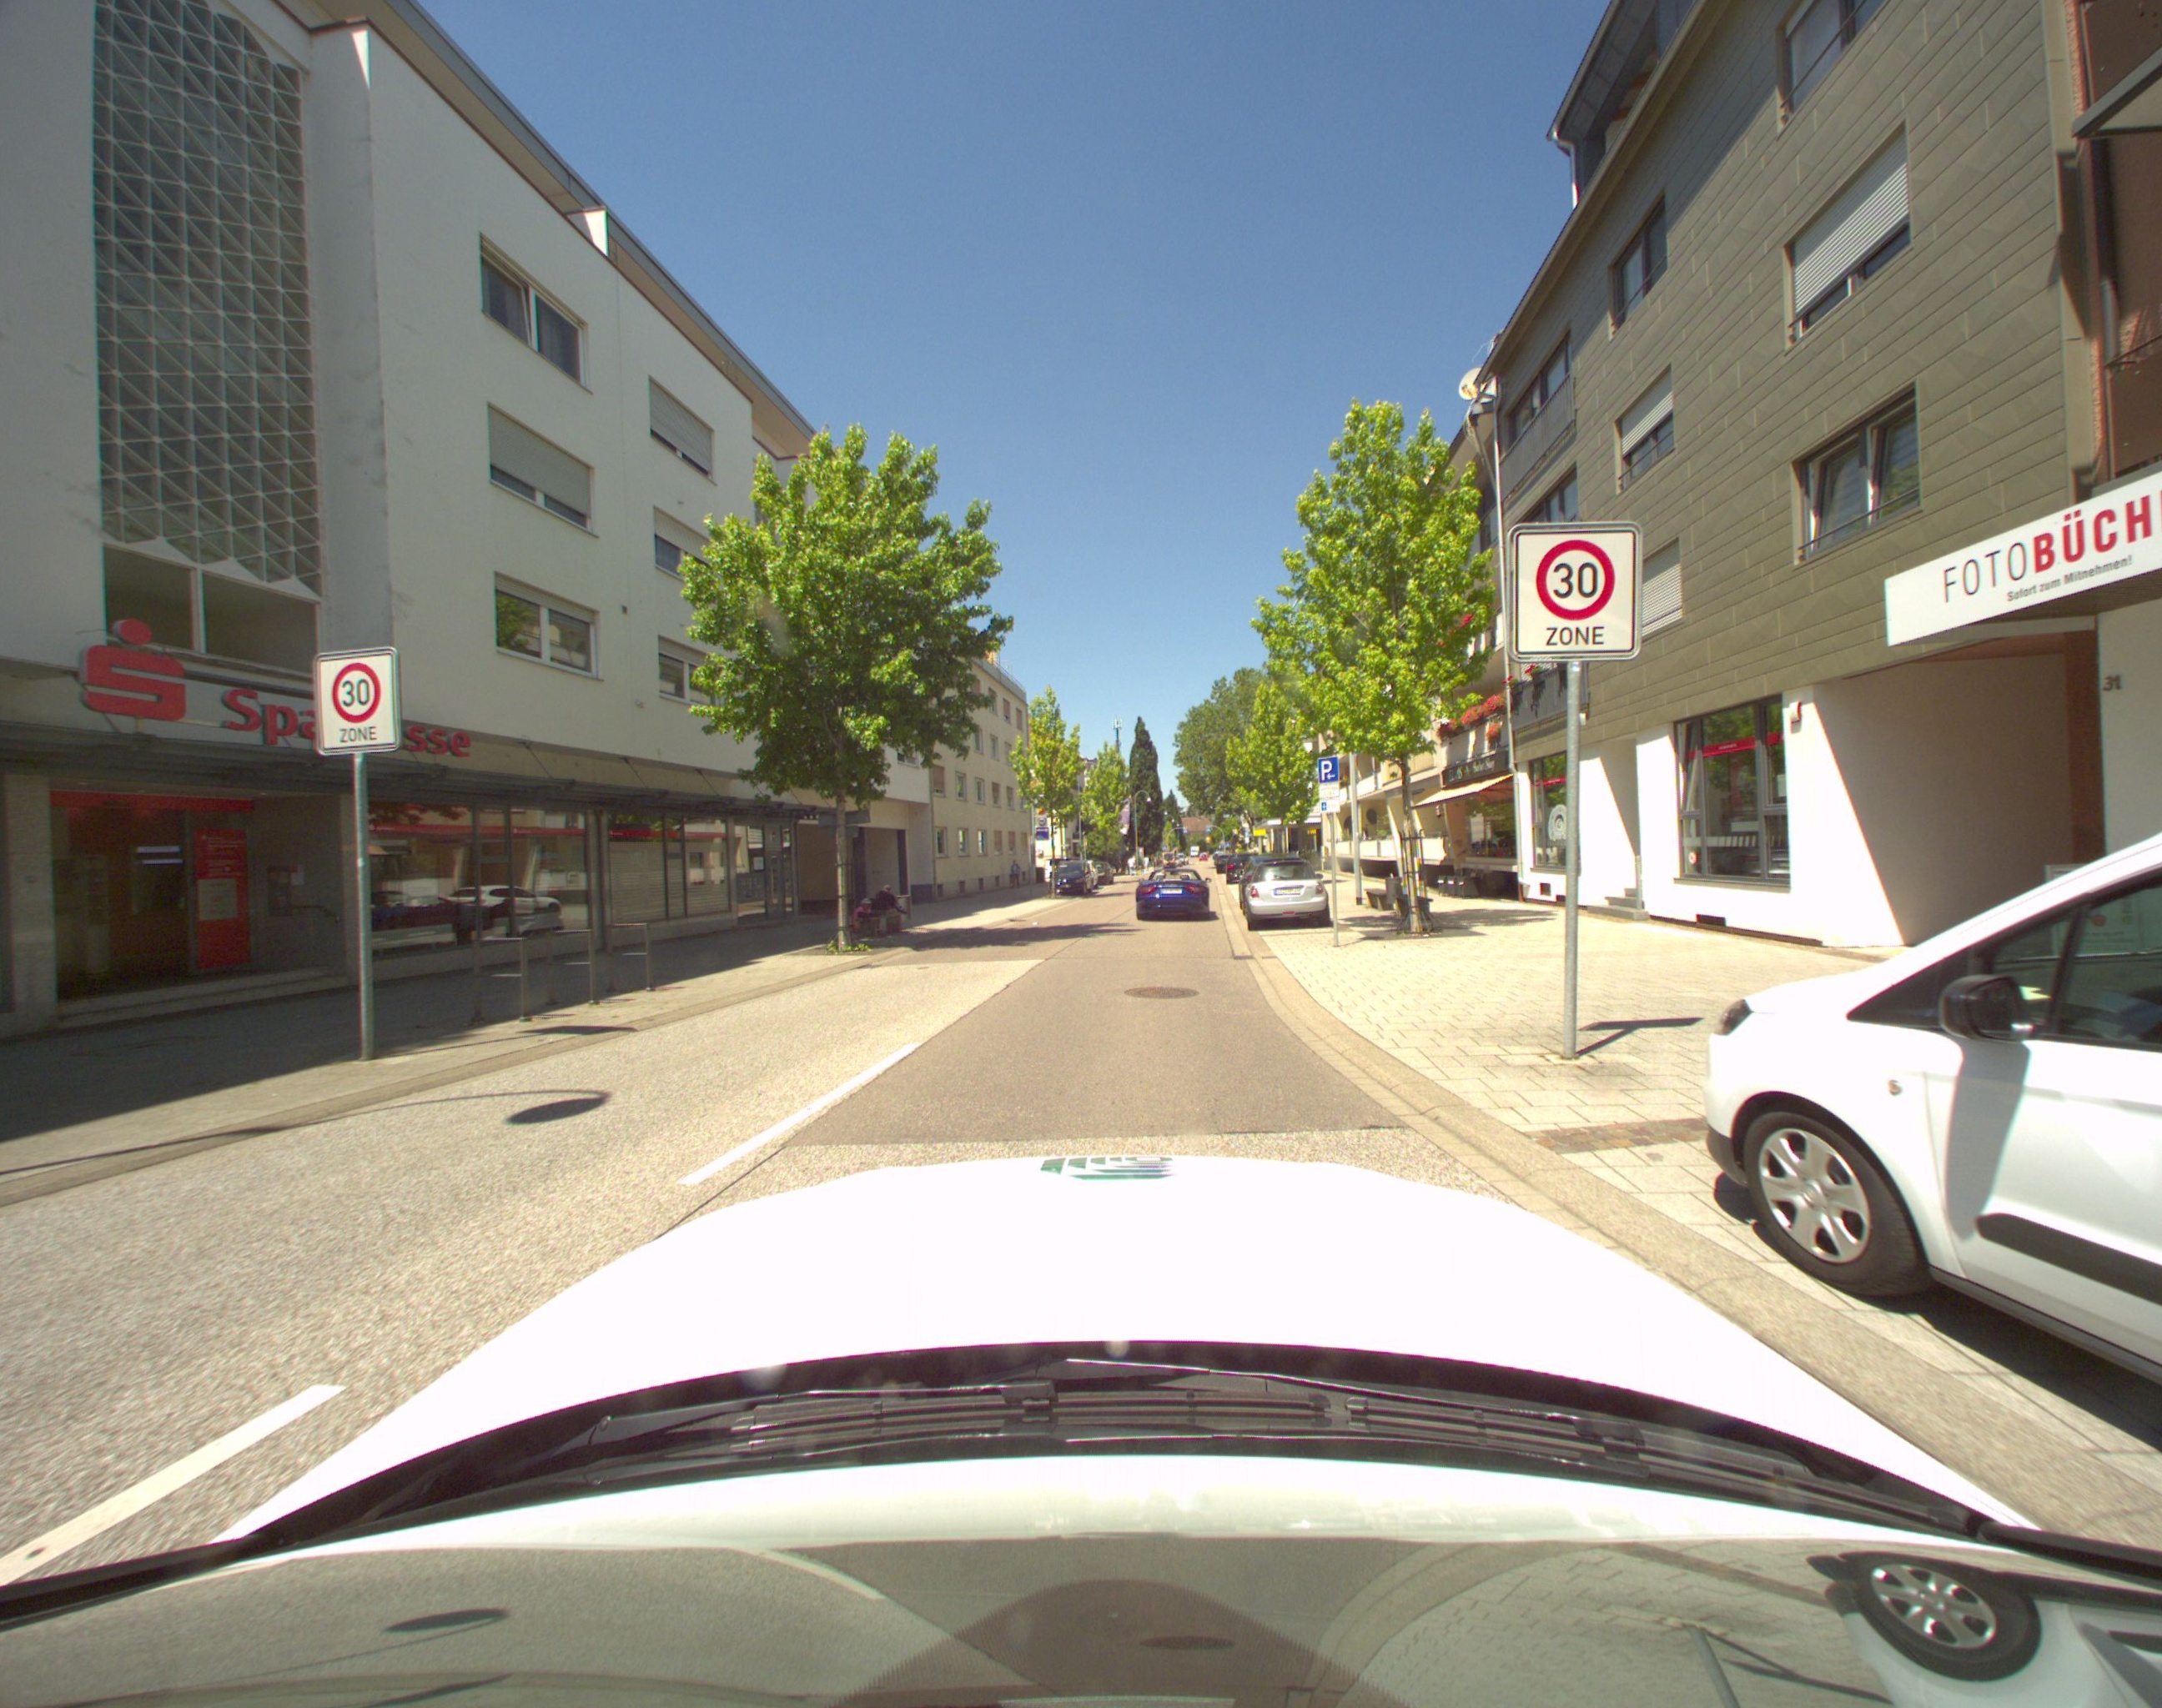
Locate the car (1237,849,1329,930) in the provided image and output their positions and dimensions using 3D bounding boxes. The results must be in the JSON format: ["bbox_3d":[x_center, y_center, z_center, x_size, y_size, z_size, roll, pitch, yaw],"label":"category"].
[{"bbox_3d":[4.418,0.724,18.265,1.613,1.559,3.850,-3,-1,9],"label":"car"}]

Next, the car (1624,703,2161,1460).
[{"bbox_3d":[3.298,0.469,1.573,1.742,1.724,3.908,-4,-1,-1],"label":"car"}]

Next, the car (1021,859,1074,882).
[{"bbox_3d":[-2.682,1.341,65.914,4.038,1.823,1.763,0,0,7],"label":"car"}]

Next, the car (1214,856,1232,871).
[{"bbox_3d":[16.133,1.068,92.678,1.964,1.450,4.360,-4,0,9],"label":"car"}]

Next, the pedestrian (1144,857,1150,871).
[{"bbox_3d":[7.409,1.126,91.237,0.583,1.574,0.783,-2,-1,8],"label":"pedestrian"}]

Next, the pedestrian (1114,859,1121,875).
[{"bbox_3d":[3.337,1.184,73.910,0.576,1.474,0.565,-2,-1,4],"label":"pedestrian"}]

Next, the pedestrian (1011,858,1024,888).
[{"bbox_3d":[-3.785,1.135,48.384,0.655,1.680,0.629,-4,1,-9],"label":"pedestrian"}]

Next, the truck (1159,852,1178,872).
[{"bbox_3d":[10.179,0.865,94.273,1.794,2.117,4.727,-3,0,9],"label":"truck"}]

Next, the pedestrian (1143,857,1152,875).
[{"bbox_3d":[7.438,1.310,91.204,0.844,1.915,0.763,-3,1,8],"label":"pedestrian"}]

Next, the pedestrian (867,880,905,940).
[{"bbox_3d":[-4.669,1.324,19.488,0.563,1.372,0.670,-3,-2,18],"label":"pedestrian"}]

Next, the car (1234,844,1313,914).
[{"bbox_3d":[5.344,0.652,23.100,1.753,1.706,4.717,-3,-1,9],"label":"car"}]

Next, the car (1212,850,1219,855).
[{"bbox_3d":[40.770,-0.503,245.981,1.938,1.476,4.149,-3,-1,10],"label":"car"}]

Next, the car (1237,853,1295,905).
[{"bbox_3d":[6.374,0.822,28.403,1.711,1.583,4.237,-3,-1,10],"label":"car"}]

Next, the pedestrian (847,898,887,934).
[{"bbox_3d":[-5.359,1.549,20.378,0.659,0.858,0.736,-3,-5,18],"label":"pedestrian"}]

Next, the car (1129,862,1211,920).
[{"bbox_3d":[2.462,0.961,22.273,1.965,1.398,4.635,-1,-1,7],"label":"car"}]

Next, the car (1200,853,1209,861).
[{"bbox_3d":[24.244,0.675,160.125,1.759,1.476,4.147,-2,-1,8],"label":"car"}]

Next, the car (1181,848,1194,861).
[{"bbox_3d":[15.644,0.043,119.854,1.760,1.767,4.146,-3,0,7],"label":"car"}]

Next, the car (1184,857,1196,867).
[{"bbox_3d":[17.677,1.229,131.688,1.759,1.476,4.147,-3,0,8],"label":"car"}]

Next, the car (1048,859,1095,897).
[{"bbox_3d":[-0.422,1.146,40.734,1.719,1.740,4.402,1,0,7],"label":"car"}]

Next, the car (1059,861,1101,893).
[{"bbox_3d":[0.000,1.262,46.258,1.814,1.619,4.402,-1,0,7],"label":"car"}]

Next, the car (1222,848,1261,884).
[{"bbox_3d":[9.145,0.643,46.483,1.981,1.798,4.583,-3,1,11],"label":"car"}]

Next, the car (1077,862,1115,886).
[{"bbox_3d":[1.019,1.259,52.395,1.743,1.474,4.334,0,0,11],"label":"car"}]
